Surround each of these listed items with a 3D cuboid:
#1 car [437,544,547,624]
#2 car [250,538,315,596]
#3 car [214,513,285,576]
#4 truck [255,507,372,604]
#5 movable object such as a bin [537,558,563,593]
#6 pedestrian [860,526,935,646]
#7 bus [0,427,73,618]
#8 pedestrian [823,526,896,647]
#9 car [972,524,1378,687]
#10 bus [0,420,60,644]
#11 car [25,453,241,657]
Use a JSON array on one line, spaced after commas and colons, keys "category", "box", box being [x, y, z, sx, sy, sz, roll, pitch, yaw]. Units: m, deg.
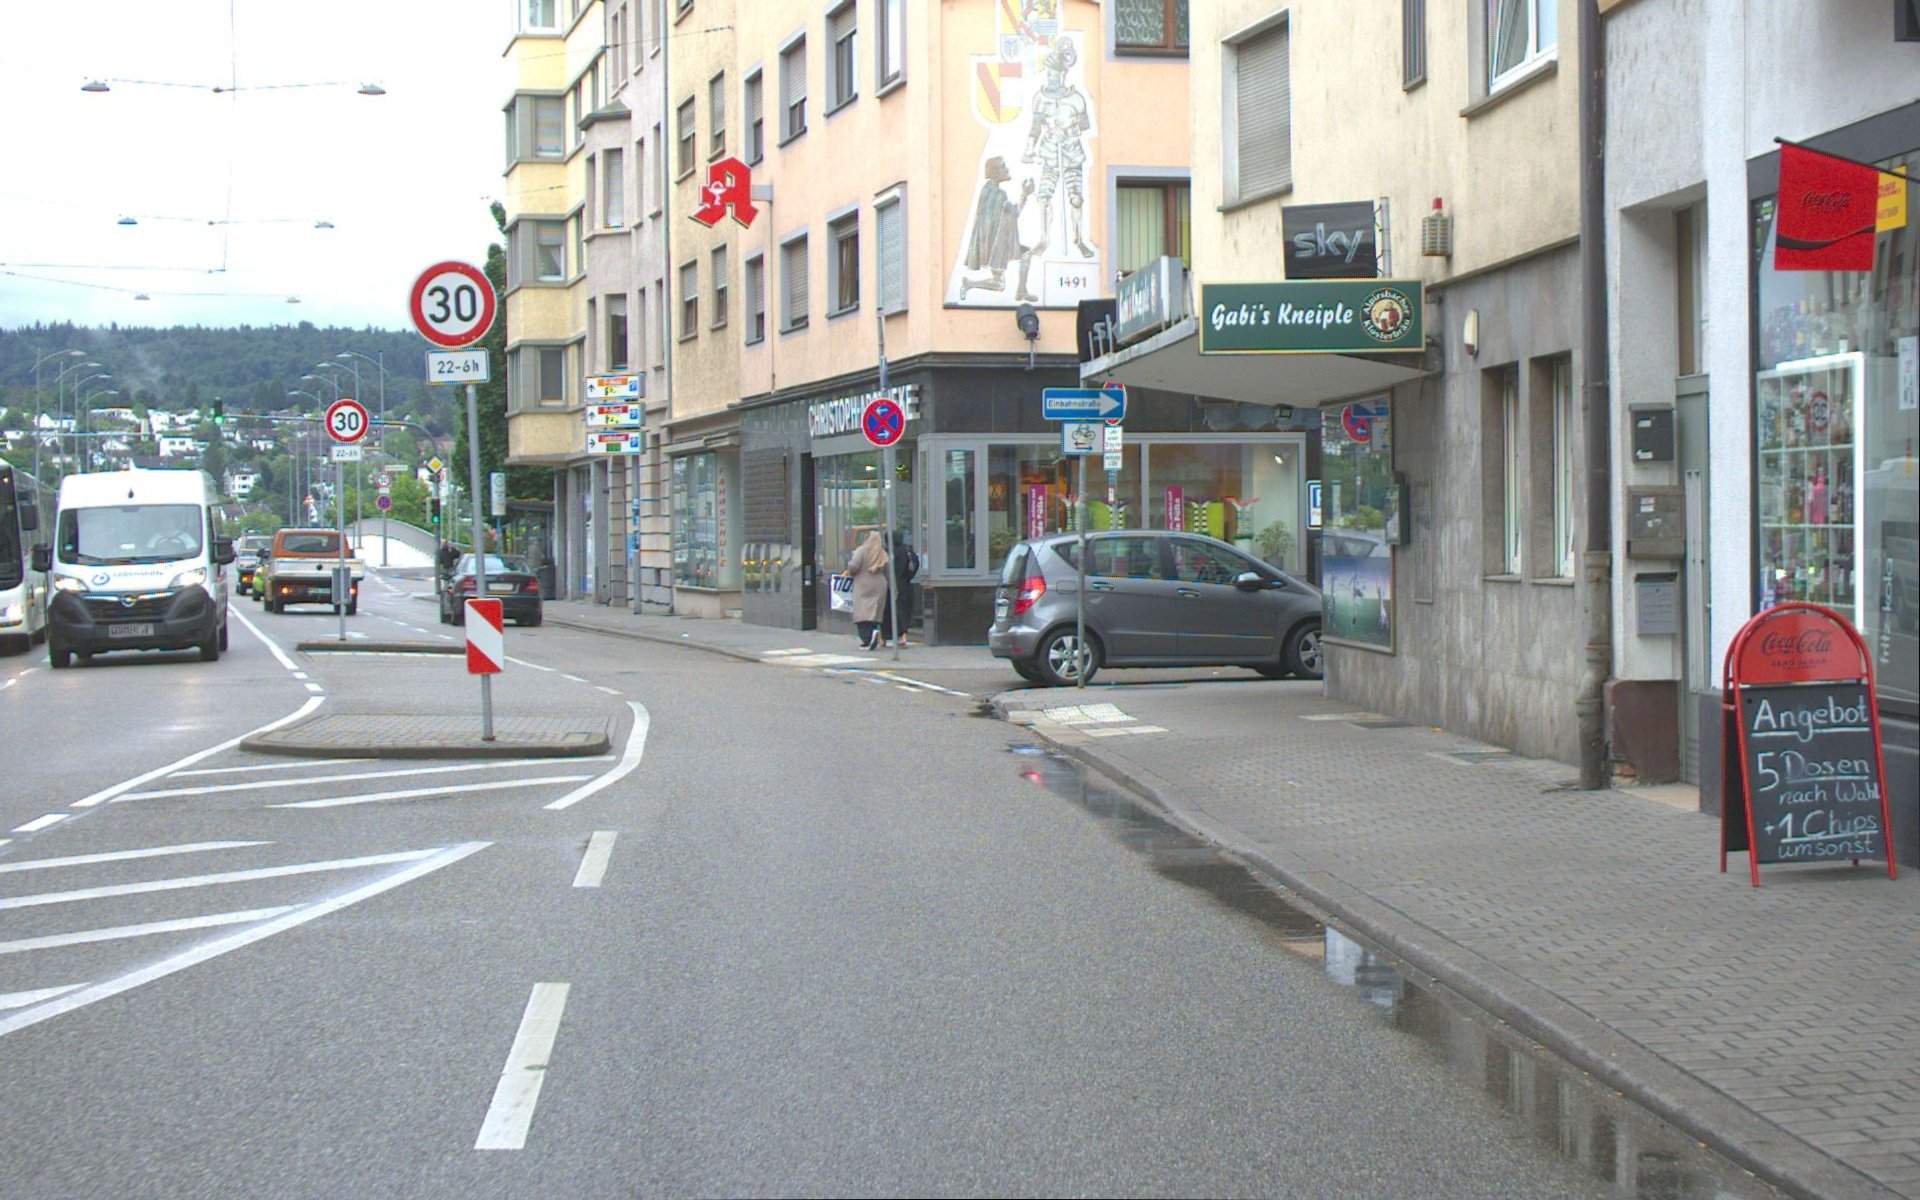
[{"category": "car", "box": [-9.077, -0.310, 66.444, 1.753, 1.474, 4.001, 1, 0, -13]}, {"category": "car", "box": [-20.018, -0.960, 101.504, 1.753, 1.646, 4.001, -1, 1, -13]}, {"category": "car", "box": [-23.436, -1.798, 113.301, 1.993, 2.007, 4.001, -1, 1, -15]}, {"category": "truck", "box": [-14.918, -1.017, 79.158, 2.399, 2.122, 5.316, -1, 1, -13]}, {"category": "movable object such as a bin", "box": [-10.895, -0.645, 91.379, 0.600, 0.923, 0.705, -1, 0, -13]}, {"category": "pedestrian", "box": [-0.823, -0.187, 45.065, 0.768, 1.554, 0.876, -1, 0, -14]}, {"category": "bus", "box": [-17.498, -1.317, 61.737, 2.725, 3.177, 9.296, -1, 1, -13]}, {"category": "pedestrian", "box": [-1.309, -0.177, 44.641, 0.778, 1.554, 0.783, -1, 0, -14]}, {"category": "car", "box": [2.194, 0.041, 35.602, 3.824, 1.568, 1.937, -1, 1, -10]}, {"category": "bus", "box": [-15.431, -0.974, 52.798, 2.758, 3.177, 8.914, -1, 1, -13]}, {"category": "car", "box": [-10.604, -0.571, 44.506, 2.086, 2.427, 6.354, -1, 1, -8]}]
